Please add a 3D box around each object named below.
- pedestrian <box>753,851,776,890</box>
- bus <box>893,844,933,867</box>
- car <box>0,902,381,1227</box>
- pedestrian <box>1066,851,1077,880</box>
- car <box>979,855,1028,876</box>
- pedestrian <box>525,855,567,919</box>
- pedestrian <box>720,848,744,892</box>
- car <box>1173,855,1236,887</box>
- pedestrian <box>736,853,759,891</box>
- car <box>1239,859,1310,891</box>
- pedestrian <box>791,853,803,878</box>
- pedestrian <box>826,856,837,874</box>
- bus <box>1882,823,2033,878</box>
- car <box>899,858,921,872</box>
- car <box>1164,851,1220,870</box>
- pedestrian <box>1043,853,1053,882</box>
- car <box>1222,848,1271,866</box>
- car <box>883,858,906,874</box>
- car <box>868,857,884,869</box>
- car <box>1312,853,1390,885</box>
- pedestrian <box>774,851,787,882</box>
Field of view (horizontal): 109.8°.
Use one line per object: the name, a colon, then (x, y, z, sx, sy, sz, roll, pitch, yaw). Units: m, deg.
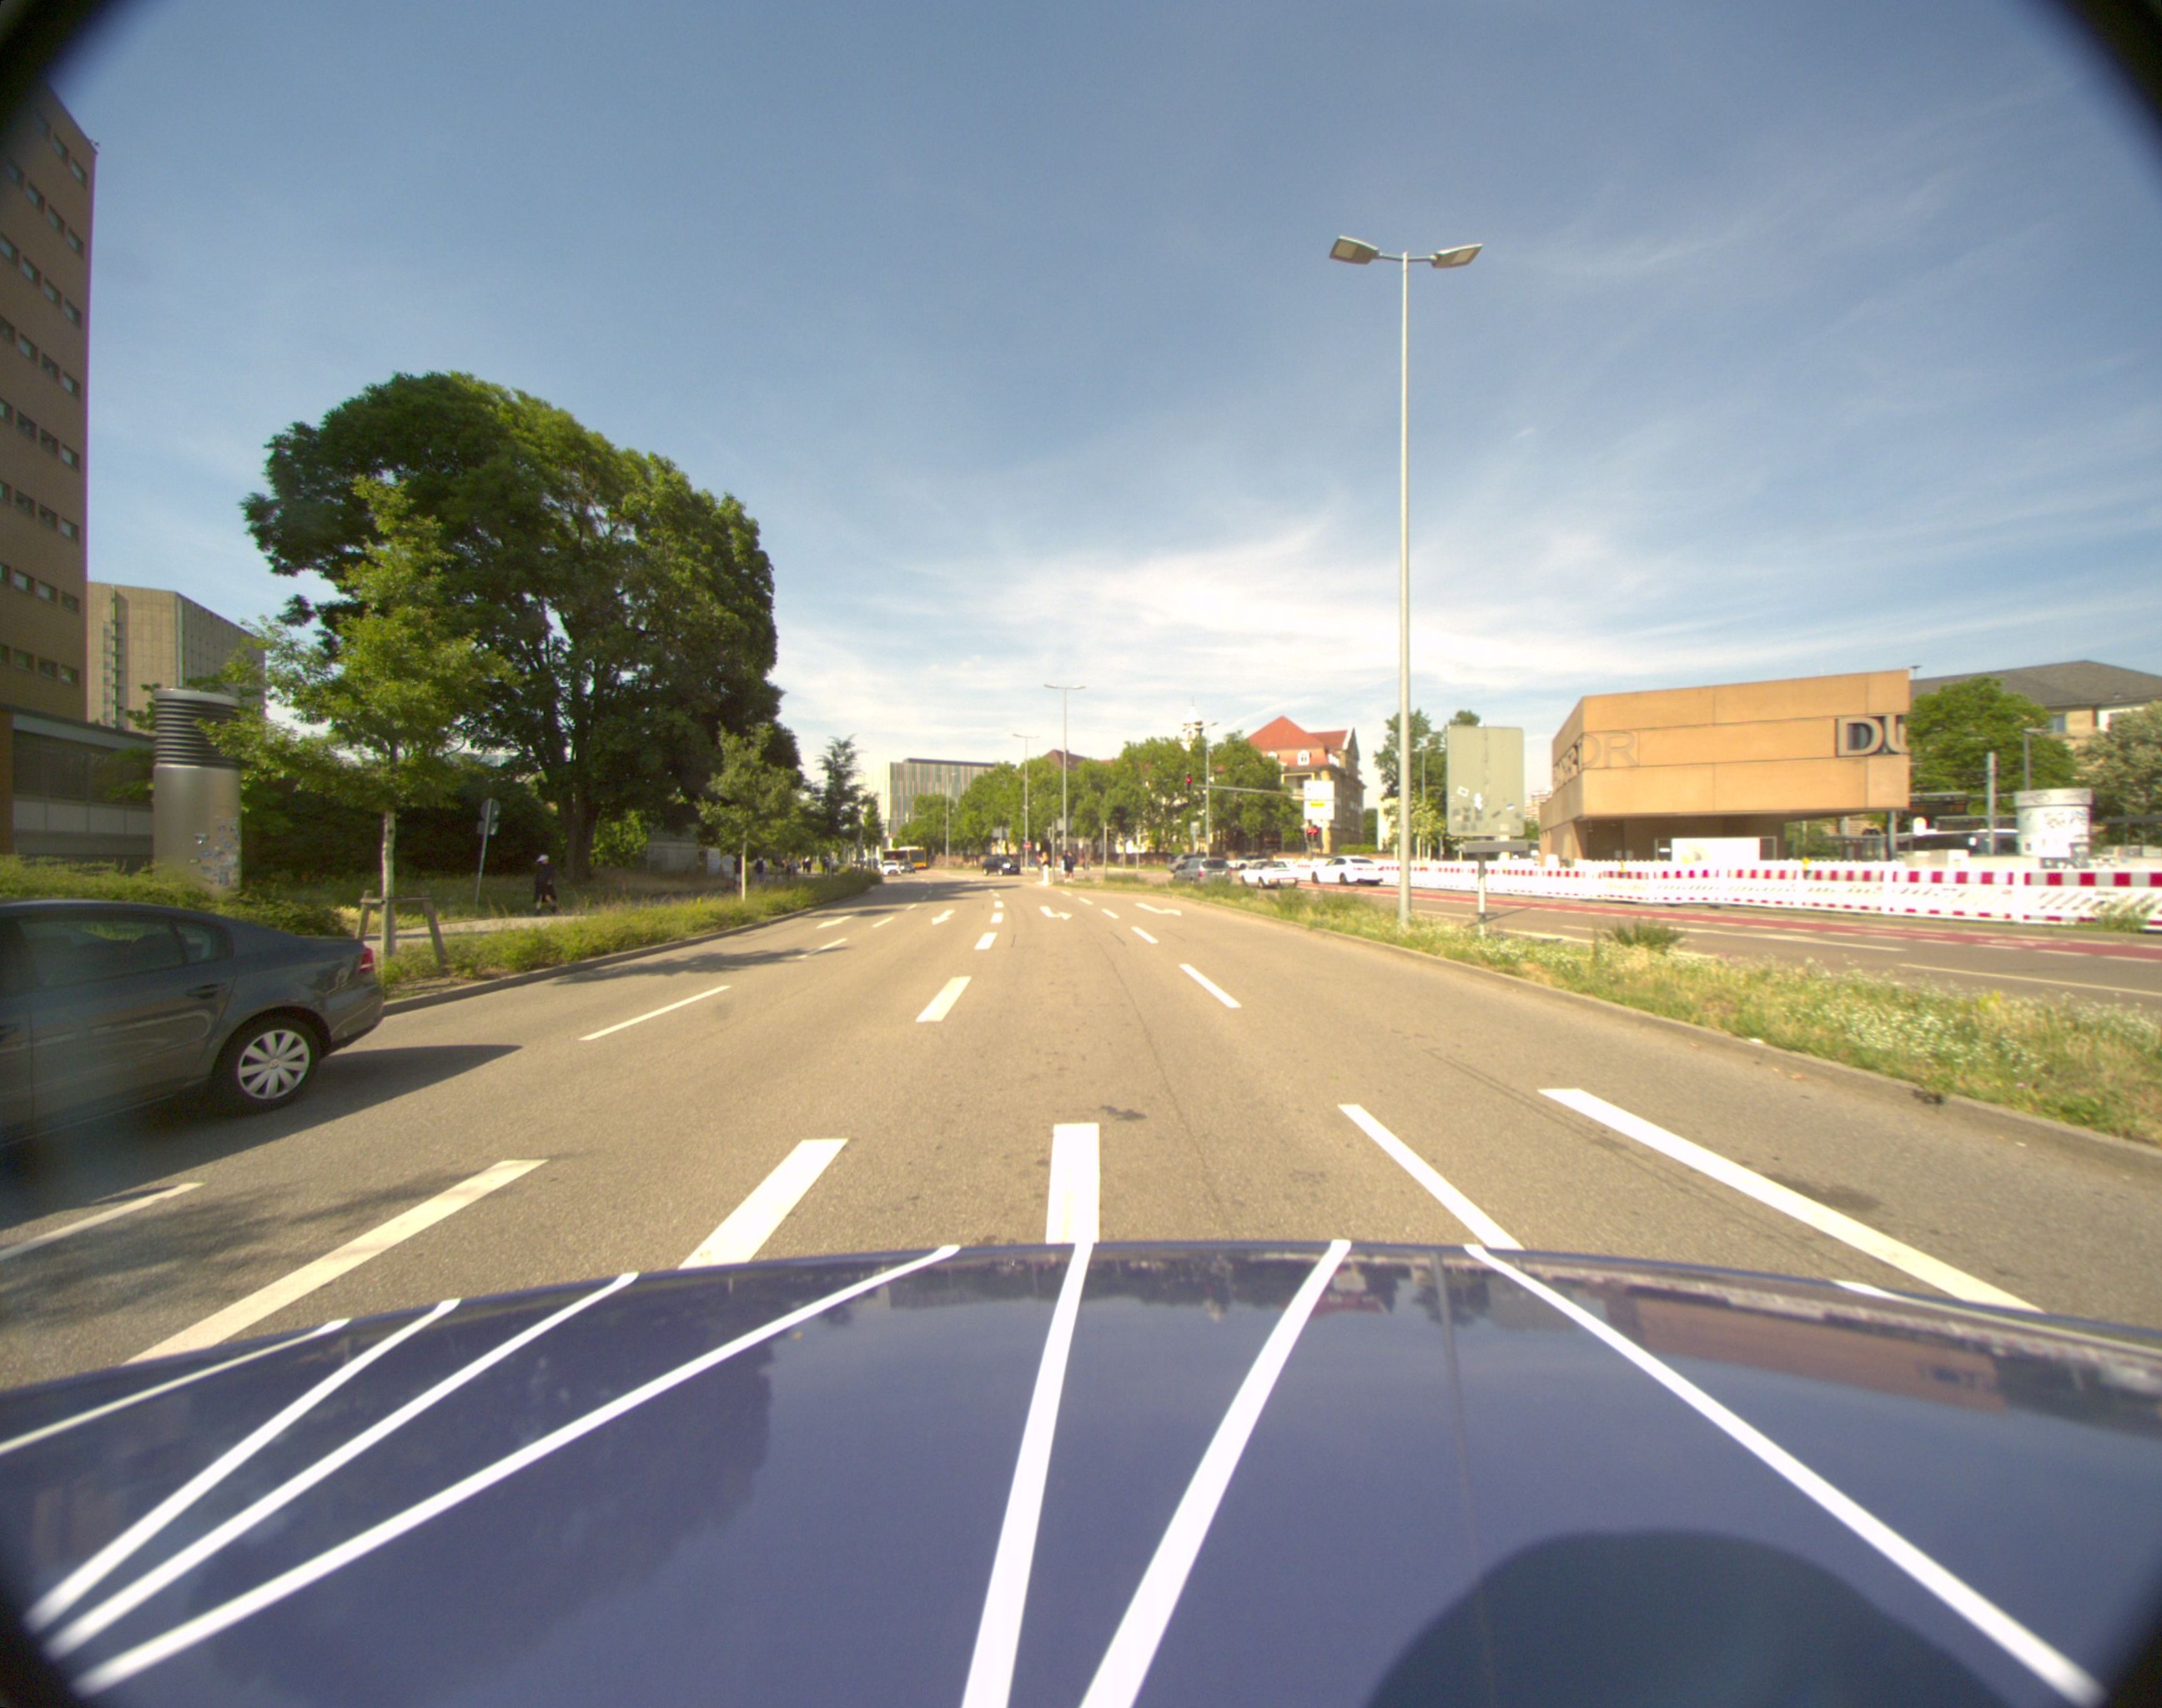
pedestrian: (-13.717, 0.704, 32.973, 0.643, 1.664, 0.752, 1, 1, 1)
bus: (-23.686, 0.277, 106.840, 2.801, 3.020, 12.123, 0, 0, -25)
car: (-6.066, 1.114, 3.414, 1.635, 1.427, 4.528, -1, 1, -1)
pedestrian: (-0.562, 0.675, 44.515, 0.643, 1.664, 0.752, 0, 0, 0)
car: (-6.766, 1.034, 66.097, 4.102, 1.719, 1.763, -2, 1, 36)
pedestrian: (-14.212, 0.868, 20.189, 0.592, 1.654, 0.731, 1, 1, 1)
pedestrian: (-14.957, 0.682, 32.584, 0.643, 1.827, 0.731, 1, 1, 1)
car: (5.655, 0.750, 35.225, 1.600, 1.279, 3.996, -2, 1, -10)
pedestrian: (-14.303, 0.759, 32.583, 0.643, 1.617, 0.731, 1, 1, 1)
car: (8.791, 0.899, 34.857, 1.600, 1.279, 3.996, -2, 1, -10)
pedestrian: (-16.378, 0.667, 43.784, 0.644, 1.438, 0.568, 1, 1, -20)
pedestrian: (-16.003, 0.727, 48.725, 0.644, 1.125, 0.751, 1, 1, -15)
bus: (59.545, -0.211, 52.124, 2.751, 3.303, 11.811, 0, 0, 28)
car: (-18.850, 1.237, 83.826, 1.653, 1.416, 4.112, -3, 1, -22)
car: (8.858, 0.525, 60.821, 4.098, 1.427, 1.833, 0, 0, -9)
pedestrian: (-1.887, 0.760, 43.801, 0.541, 1.664, 0.752, 0, 0, 1)
car: (15.016, 0.292, 68.915, 4.117, 1.435, 1.756, -3, 1, -24)
car: (-18.156, 1.151, 73.943, 1.684, 1.466, 3.753, -3, 1, -20)
car: (-22.731, 1.017, 84.056, 1.411, 1.287, 3.574, 0, 0, -20)
car: (13.112, 0.701, 37.109, 1.804, 1.412, 3.996, -2, 1, -10)
pedestrian: (-17.186, 0.690, 43.458, 0.644, 1.754, 0.474, 1, 1, -20)
